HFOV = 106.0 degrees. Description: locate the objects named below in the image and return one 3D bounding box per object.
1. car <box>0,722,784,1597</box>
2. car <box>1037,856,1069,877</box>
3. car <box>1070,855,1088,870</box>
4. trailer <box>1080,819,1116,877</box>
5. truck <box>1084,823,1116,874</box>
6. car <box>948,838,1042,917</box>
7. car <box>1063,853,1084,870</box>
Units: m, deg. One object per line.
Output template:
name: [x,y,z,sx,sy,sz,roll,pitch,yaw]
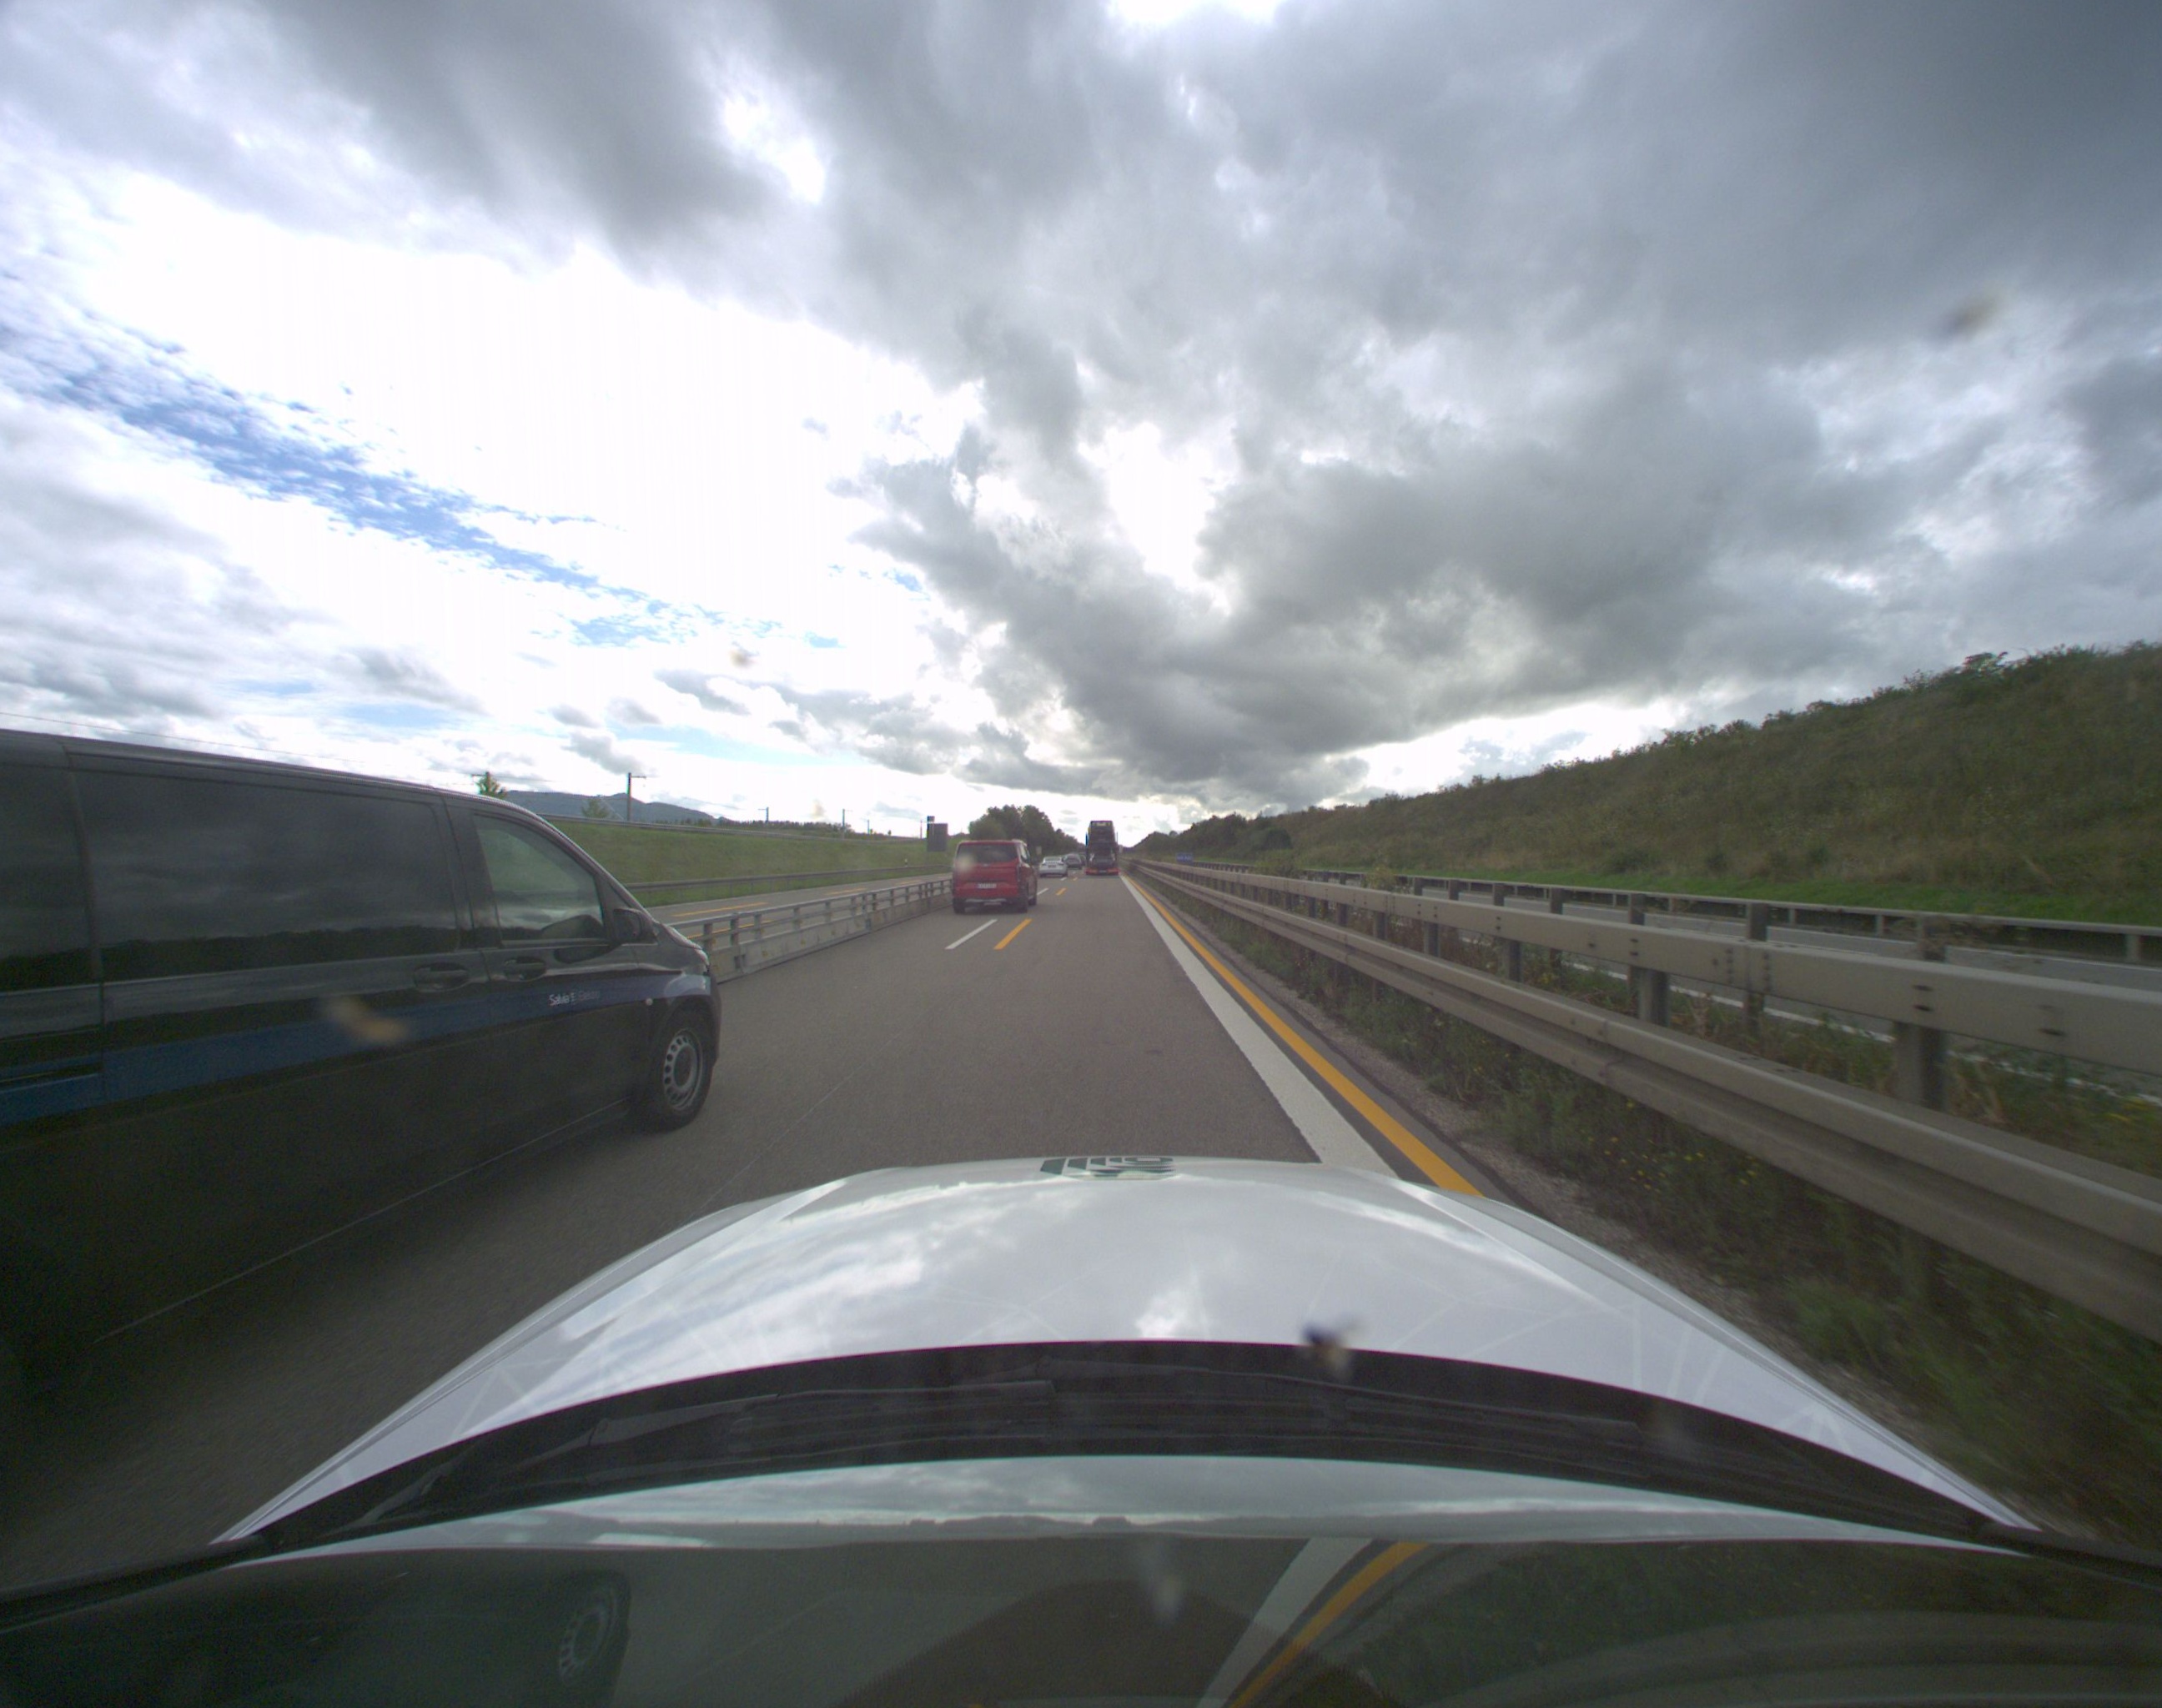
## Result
car: [-3.240,0.665,3.092,1.986,1.843,5.611,-1,0,2]
car: [-1.928,0.877,58.144,2.024,1.430,4.578,-1,0,1]
car: [-0.216,0.986,98.504,2.024,1.757,4.578,-1,0,1]
trailer: [1.440,-0.417,63.401,2.505,4.105,11.119,-1,0,2]
truck: [1.639,-0.423,68.322,2.506,4.105,5.688,-1,0,2]
car: [-2.332,0.608,23.256,2.023,2.013,4.579,-1,0,1]
car: [-0.718,0.762,85.294,2.024,1.757,4.578,-1,0,1]
